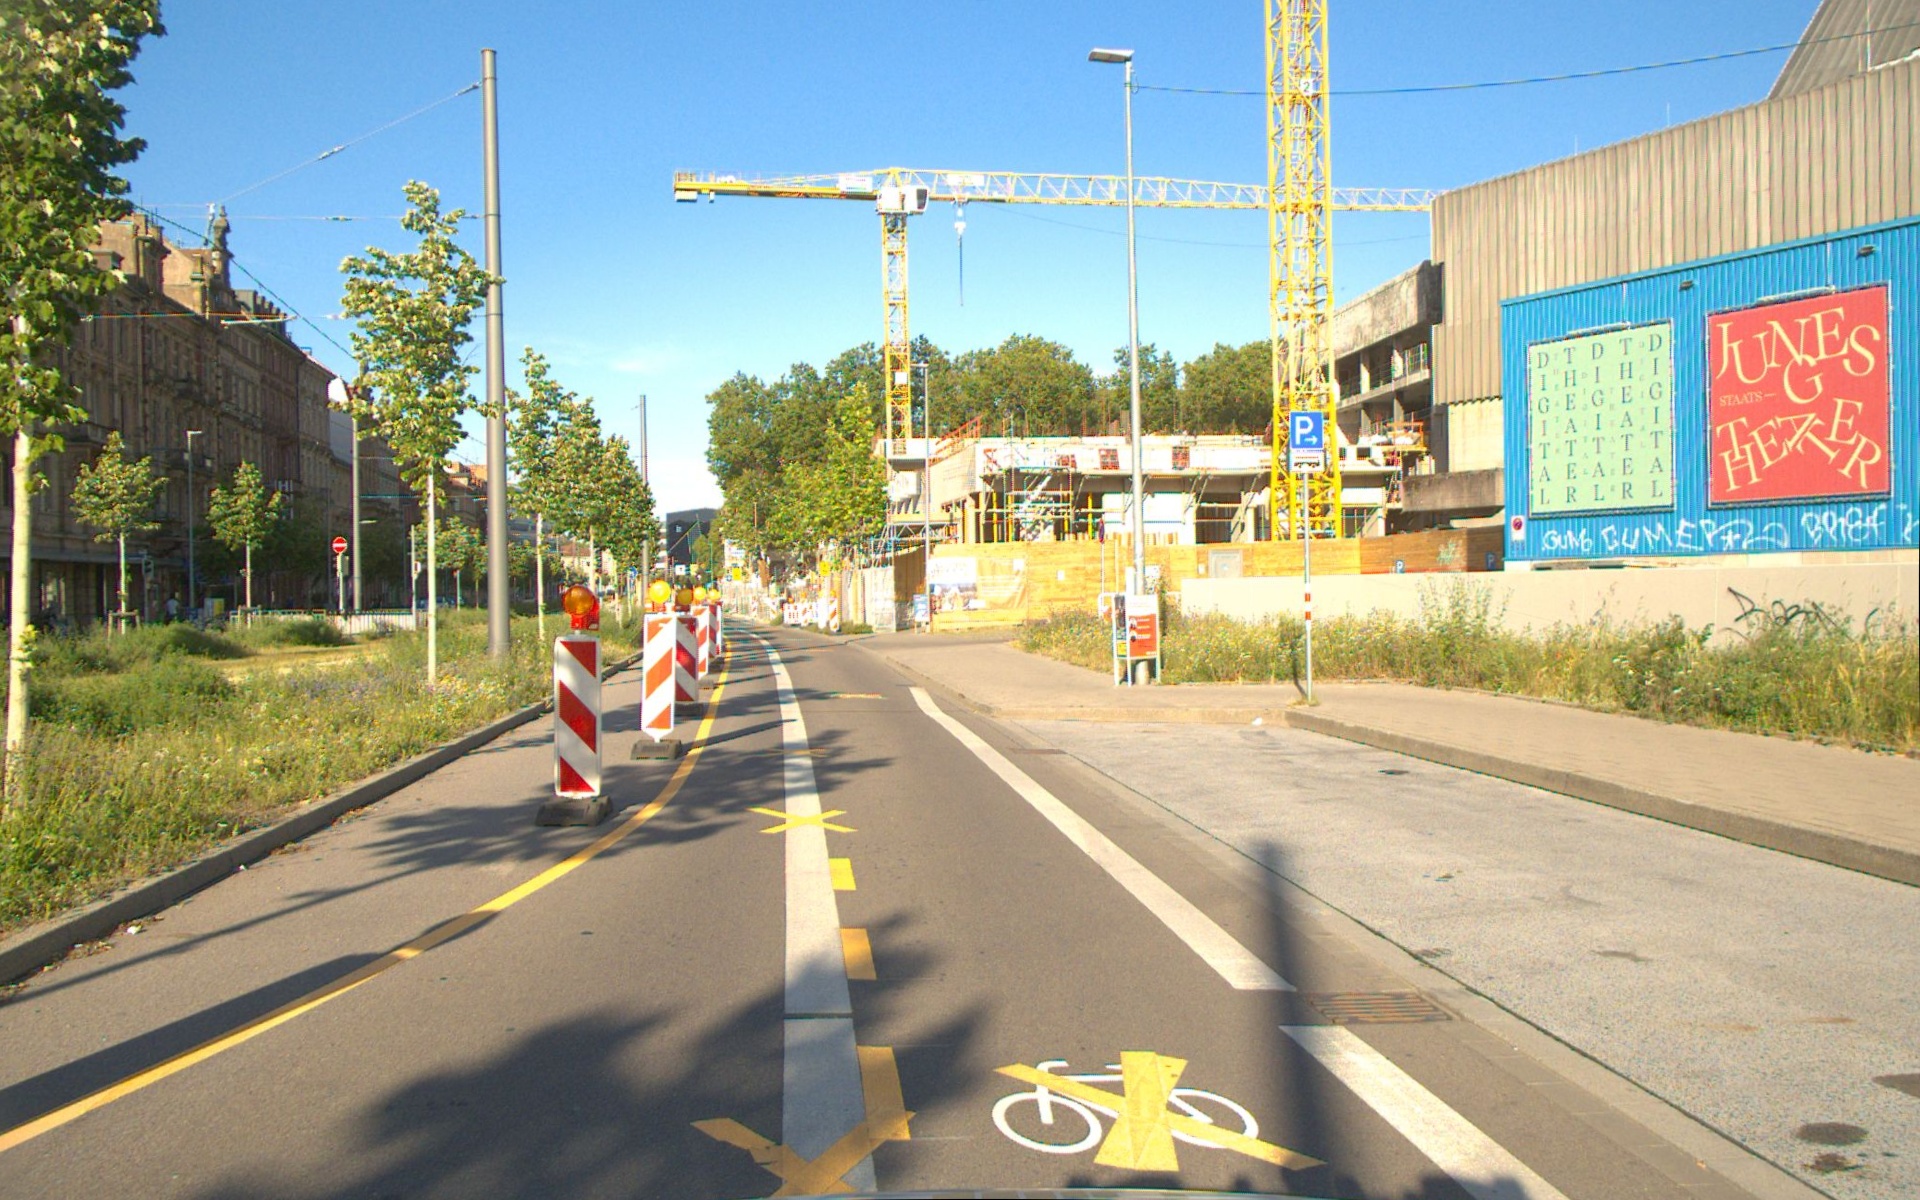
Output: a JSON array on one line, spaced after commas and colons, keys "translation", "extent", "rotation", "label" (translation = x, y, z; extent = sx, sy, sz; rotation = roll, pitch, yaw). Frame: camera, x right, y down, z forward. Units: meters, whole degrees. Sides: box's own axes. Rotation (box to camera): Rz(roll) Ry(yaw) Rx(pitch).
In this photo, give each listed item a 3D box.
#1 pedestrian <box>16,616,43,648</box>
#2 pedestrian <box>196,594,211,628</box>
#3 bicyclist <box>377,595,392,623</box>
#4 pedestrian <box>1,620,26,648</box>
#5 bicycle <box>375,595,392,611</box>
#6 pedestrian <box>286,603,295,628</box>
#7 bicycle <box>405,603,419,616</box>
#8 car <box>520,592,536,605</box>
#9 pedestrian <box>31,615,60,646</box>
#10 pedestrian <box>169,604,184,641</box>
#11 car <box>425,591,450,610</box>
[{"translation": [-37.027, 1.272, 65.815], "extent": [0.677, 1.268, 0.927], "rotation": [-1, 0, -10], "label": "pedestrian"}, {"translation": [-36.926, 0.544, 80.732], "extent": [0.478, 1.612, 0.532], "rotation": [1, -1, -11], "label": "pedestrian"}, {"translation": [-35.200, 0.548, 101.190], "extent": [0.682, 1.686, 0.880], "rotation": [-1, 0, -10], "label": "bicyclist"}, {"translation": [-37.947, 1.361, 66.311], "extent": [0.677, 1.078, 0.734], "rotation": [-1, 0, -10], "label": "pedestrian"}, {"translation": [-35.103, 0.181, 100.745], "extent": [0.682, 0.995, 1.823], "rotation": [-1, 0, -10], "label": "bicycle"}, {"translation": [-43.166, 1.003, 106.610], "extent": [0.396, 1.612, 0.424], "rotation": [1, -1, -11], "label": "pedestrian"}, {"translation": [-37.665, 0.674, 113.690], "extent": [0.625, 0.872, 2.026], "rotation": [-1, 0, -10], "label": "bicycle"}, {"translation": [-53.264, -0.192, 203.927], "extent": [1.566, 1.509, 3.615], "rotation": [-1, 0, -9], "label": "car"}, {"translation": [-37.390, 1.248, 67.614], "extent": [0.777, 1.229, 0.927], "rotation": [-1, 0, -10], "label": "pedestrian"}, {"translation": [-38.295, 1.082, 80.829], "extent": [0.499, 1.795, 0.405], "rotation": [1, -1, -11], "label": "pedestrian"}, {"translation": [-45.233, -0.007, 143.157], "extent": [1.539, 1.590, 4.701], "rotation": [-1, 0, -11], "label": "car"}]
